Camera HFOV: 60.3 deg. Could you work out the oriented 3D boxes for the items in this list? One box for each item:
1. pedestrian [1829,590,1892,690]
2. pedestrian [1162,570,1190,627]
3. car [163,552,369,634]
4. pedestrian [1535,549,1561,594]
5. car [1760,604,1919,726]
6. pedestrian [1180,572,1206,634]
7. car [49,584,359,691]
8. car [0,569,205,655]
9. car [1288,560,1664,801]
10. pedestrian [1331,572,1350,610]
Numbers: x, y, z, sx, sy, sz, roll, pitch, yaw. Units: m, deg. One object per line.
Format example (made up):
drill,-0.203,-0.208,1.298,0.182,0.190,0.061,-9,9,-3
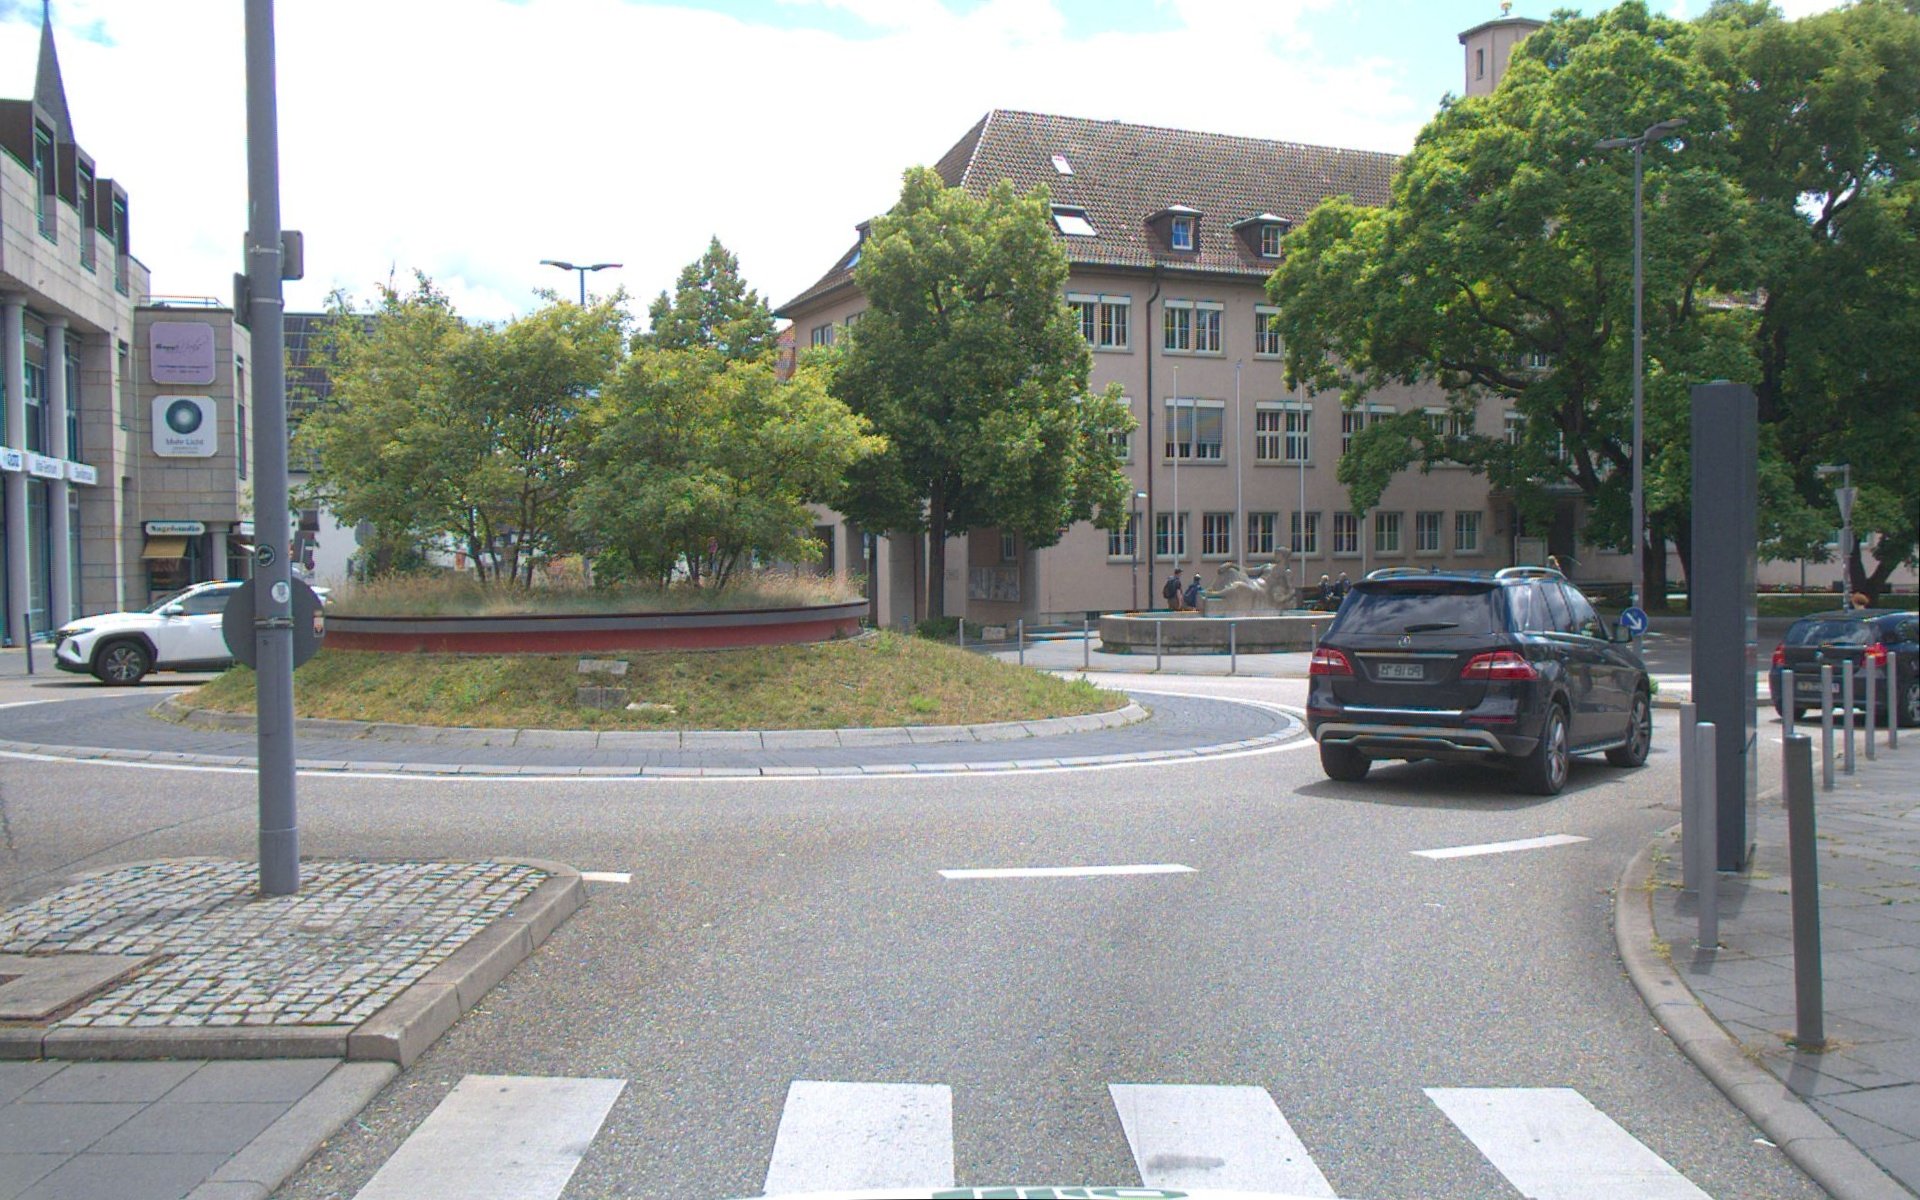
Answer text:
pedestrian,14.620,0.638,26.854,0.540,1.540,0.787,-2,3,-8
pedestrian,5.978,-0.042,45.752,0.624,1.549,0.576,0,4,-7
car,-23.650,-0.165,56.475,6.222,2.605,2.183,1,-3,-32
pedestrian,20.040,-0.975,56.379,0.683,1.519,0.816,1,0,9
car,12.243,0.788,21.578,3.790,1.407,1.595,-1,1,-34
pedestrian,6.323,0.077,44.885,0.561,1.636,0.437,0,4,-7
car,-12.262,0.571,26.949,4.330,1.608,1.839,0,-1,-38
car,-18.112,0.246,34.135,4.165,1.604,1.850,-2,1,5
car,4.665,0.573,14.486,1.991,1.757,4.420,-1,0,33
pedestrian,12.299,-0.300,53.466,0.477,1.203,0.580,1,0,26
